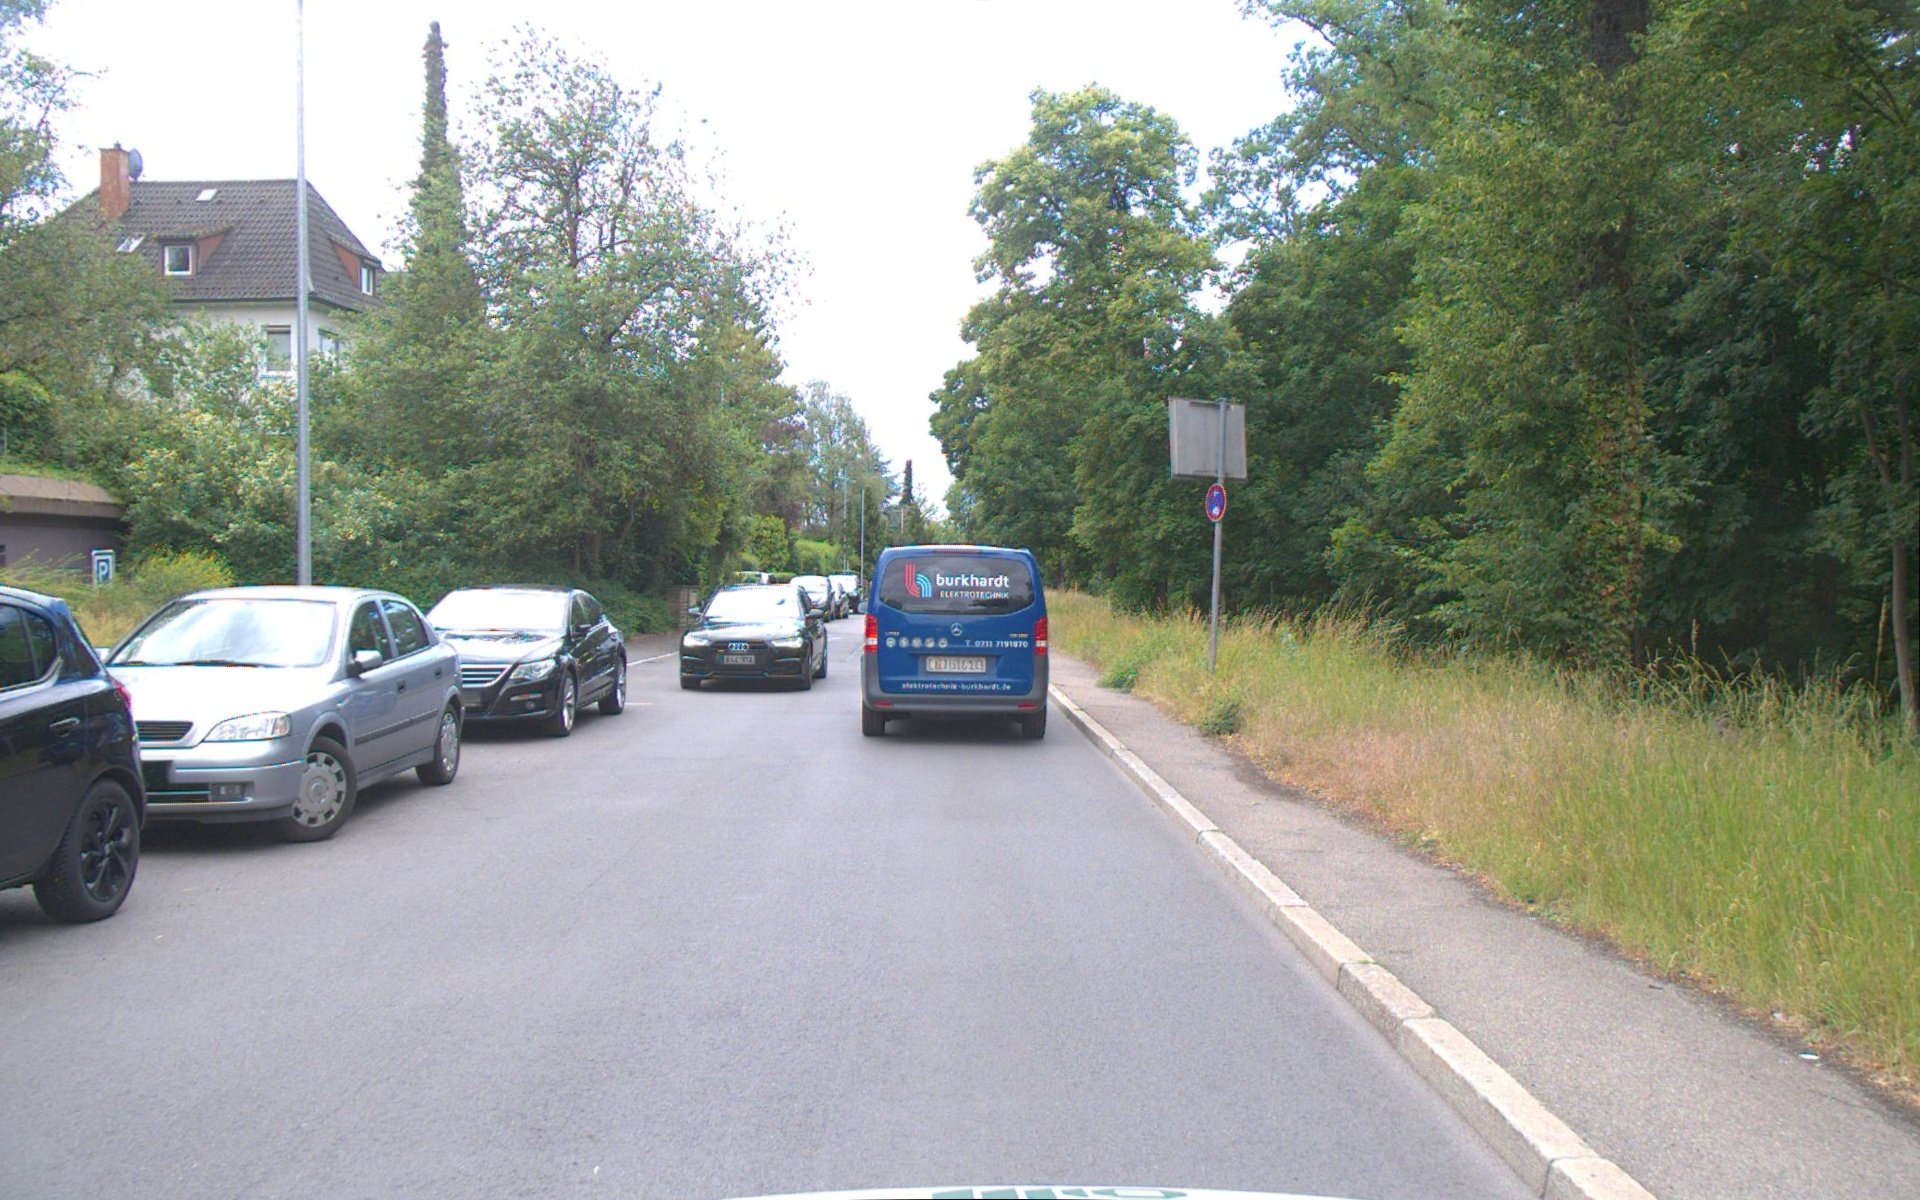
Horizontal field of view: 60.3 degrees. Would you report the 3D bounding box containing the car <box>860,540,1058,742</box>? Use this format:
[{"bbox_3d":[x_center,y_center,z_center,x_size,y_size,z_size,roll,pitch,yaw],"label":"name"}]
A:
[{"bbox_3d":[-0.110,0.319,17.442,1.851,1.876,3.998,0,2,-3],"label":"car"}]

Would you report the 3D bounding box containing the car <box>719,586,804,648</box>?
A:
[{"bbox_3d":[-5.015,0.383,42.232,1.625,1.478,4.382,0,1,0],"label":"car"}]

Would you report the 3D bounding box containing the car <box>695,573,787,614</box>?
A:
[{"bbox_3d":[-9.708,-0.296,73.476,3.613,1.666,1.830,2,0,13],"label":"car"}]

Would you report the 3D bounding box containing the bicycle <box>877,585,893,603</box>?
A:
[{"bbox_3d":[-5.660,-0.436,124.793,0.887,1.273,2.917,3,0,3],"label":"bicycle"}]

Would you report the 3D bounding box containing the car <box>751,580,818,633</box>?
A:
[{"bbox_3d":[-5.075,0.178,48.157,1.590,1.475,4.092,-1,0,-1],"label":"car"}]

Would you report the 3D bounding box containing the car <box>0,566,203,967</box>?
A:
[{"bbox_3d":[-4.408,0.637,5.918,1.591,1.508,3.999,0,0,-1],"label":"car"}]

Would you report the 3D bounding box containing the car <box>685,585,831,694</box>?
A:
[{"bbox_3d":[-2.899,0.516,24.592,1.744,1.451,4.488,1,0,-2],"label":"car"}]

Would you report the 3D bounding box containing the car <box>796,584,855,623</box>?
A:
[{"bbox_3d":[-5.302,0.123,65.684,1.718,1.437,4.899,2,0,2],"label":"car"}]

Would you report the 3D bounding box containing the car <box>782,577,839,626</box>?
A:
[{"bbox_3d":[-5.410,0.036,60.232,1.696,1.661,4.567,2,0,-1],"label":"car"}]

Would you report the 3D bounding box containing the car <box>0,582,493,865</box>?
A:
[{"bbox_3d":[-4.410,0.624,10.812,1.591,1.457,4.350,0,0,-2],"label":"car"}]

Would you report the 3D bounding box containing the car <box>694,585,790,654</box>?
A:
[{"bbox_3d":[-4.891,0.405,37.514,1.589,1.475,3.970,0,0,1],"label":"car"}]

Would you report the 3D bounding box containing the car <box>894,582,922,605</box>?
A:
[{"bbox_3d":[-3.991,-0.498,127.674,1.798,1.659,4.302,2,0,3],"label":"car"}]

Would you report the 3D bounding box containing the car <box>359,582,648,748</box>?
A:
[{"bbox_3d":[-4.545,0.559,17.299,1.742,1.457,5.103,1,0,-2],"label":"car"}]

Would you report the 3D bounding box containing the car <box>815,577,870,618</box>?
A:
[{"bbox_3d":[-5.391,-0.135,76.407,1.933,1.767,5.191,2,0,2],"label":"car"}]
